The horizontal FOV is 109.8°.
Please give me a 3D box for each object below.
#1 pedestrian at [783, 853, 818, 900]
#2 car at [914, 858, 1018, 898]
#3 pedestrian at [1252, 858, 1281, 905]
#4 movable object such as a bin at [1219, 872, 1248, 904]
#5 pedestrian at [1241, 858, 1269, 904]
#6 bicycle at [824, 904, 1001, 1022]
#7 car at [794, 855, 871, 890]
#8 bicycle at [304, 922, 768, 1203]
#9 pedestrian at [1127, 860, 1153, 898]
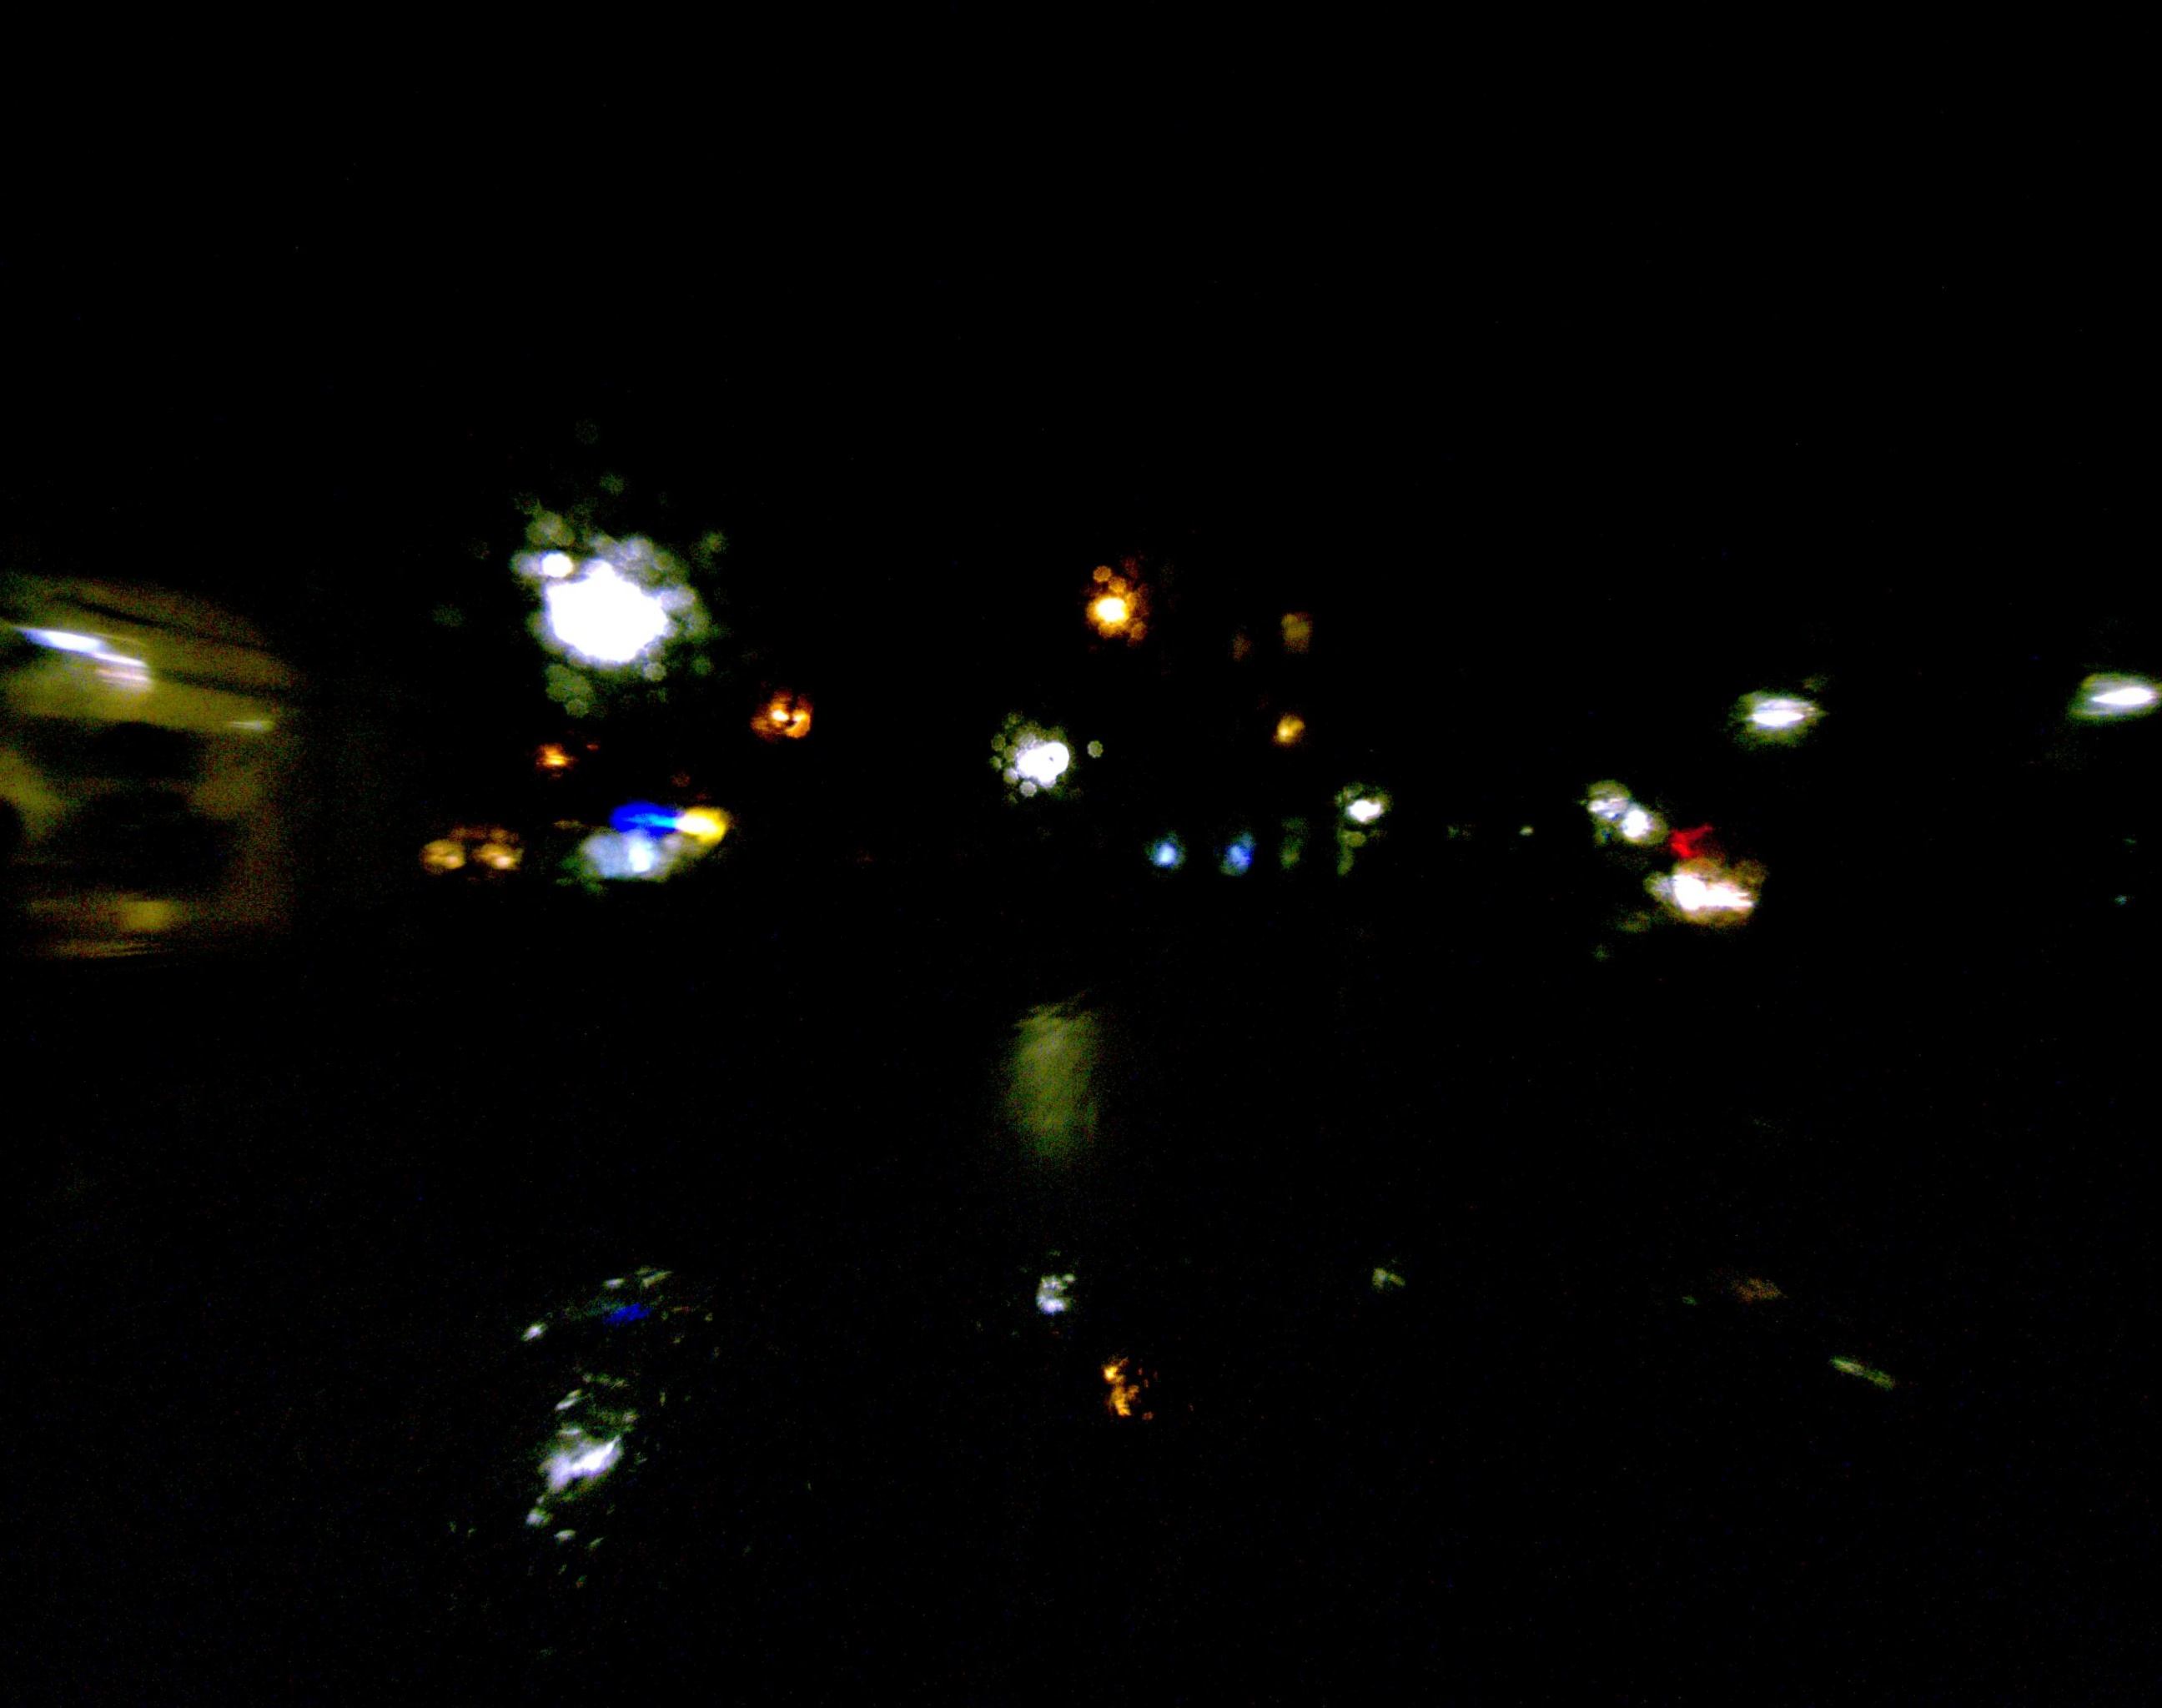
[{"bbox_3d":[-10.806,0.864,29.287,0.688,1.752,1.045,-2,-1,31],"label":"pedestrian"},{"bbox_3d":[-5.059,1.011,33.116,4.483,1.584,1.893,0,1,39],"label":"car"},{"bbox_3d":[6.559,0.966,26.850,0.872,1.628,0.635,-2,1,19],"label":"pedestrian"},{"bbox_3d":[5.598,1.253,27.917,0.921,1.109,0.635,-2,1,19],"label":"movable object such as a bin"},{"bbox_3d":[6.337,0.975,27.661,0.841,1.628,0.635,-2,1,19],"label":"pedestrian"},{"bbox_3d":[-1.651,1.073,7.611,1.623,1.076,0.564,0,3,1],"label":"bicycle"},{"bbox_3d":[-13.101,0.920,39.933,4.274,1.694,1.885,0,1,41],"label":"car"},{"bbox_3d":[-2.696,0.998,3.899,1.873,1.210,0.730,1,1,2],"label":"bicycle"},{"bbox_3d":[2.414,1.014,30.896,0.766,1.485,0.635,-2,1,41],"label":"pedestrian"}]
